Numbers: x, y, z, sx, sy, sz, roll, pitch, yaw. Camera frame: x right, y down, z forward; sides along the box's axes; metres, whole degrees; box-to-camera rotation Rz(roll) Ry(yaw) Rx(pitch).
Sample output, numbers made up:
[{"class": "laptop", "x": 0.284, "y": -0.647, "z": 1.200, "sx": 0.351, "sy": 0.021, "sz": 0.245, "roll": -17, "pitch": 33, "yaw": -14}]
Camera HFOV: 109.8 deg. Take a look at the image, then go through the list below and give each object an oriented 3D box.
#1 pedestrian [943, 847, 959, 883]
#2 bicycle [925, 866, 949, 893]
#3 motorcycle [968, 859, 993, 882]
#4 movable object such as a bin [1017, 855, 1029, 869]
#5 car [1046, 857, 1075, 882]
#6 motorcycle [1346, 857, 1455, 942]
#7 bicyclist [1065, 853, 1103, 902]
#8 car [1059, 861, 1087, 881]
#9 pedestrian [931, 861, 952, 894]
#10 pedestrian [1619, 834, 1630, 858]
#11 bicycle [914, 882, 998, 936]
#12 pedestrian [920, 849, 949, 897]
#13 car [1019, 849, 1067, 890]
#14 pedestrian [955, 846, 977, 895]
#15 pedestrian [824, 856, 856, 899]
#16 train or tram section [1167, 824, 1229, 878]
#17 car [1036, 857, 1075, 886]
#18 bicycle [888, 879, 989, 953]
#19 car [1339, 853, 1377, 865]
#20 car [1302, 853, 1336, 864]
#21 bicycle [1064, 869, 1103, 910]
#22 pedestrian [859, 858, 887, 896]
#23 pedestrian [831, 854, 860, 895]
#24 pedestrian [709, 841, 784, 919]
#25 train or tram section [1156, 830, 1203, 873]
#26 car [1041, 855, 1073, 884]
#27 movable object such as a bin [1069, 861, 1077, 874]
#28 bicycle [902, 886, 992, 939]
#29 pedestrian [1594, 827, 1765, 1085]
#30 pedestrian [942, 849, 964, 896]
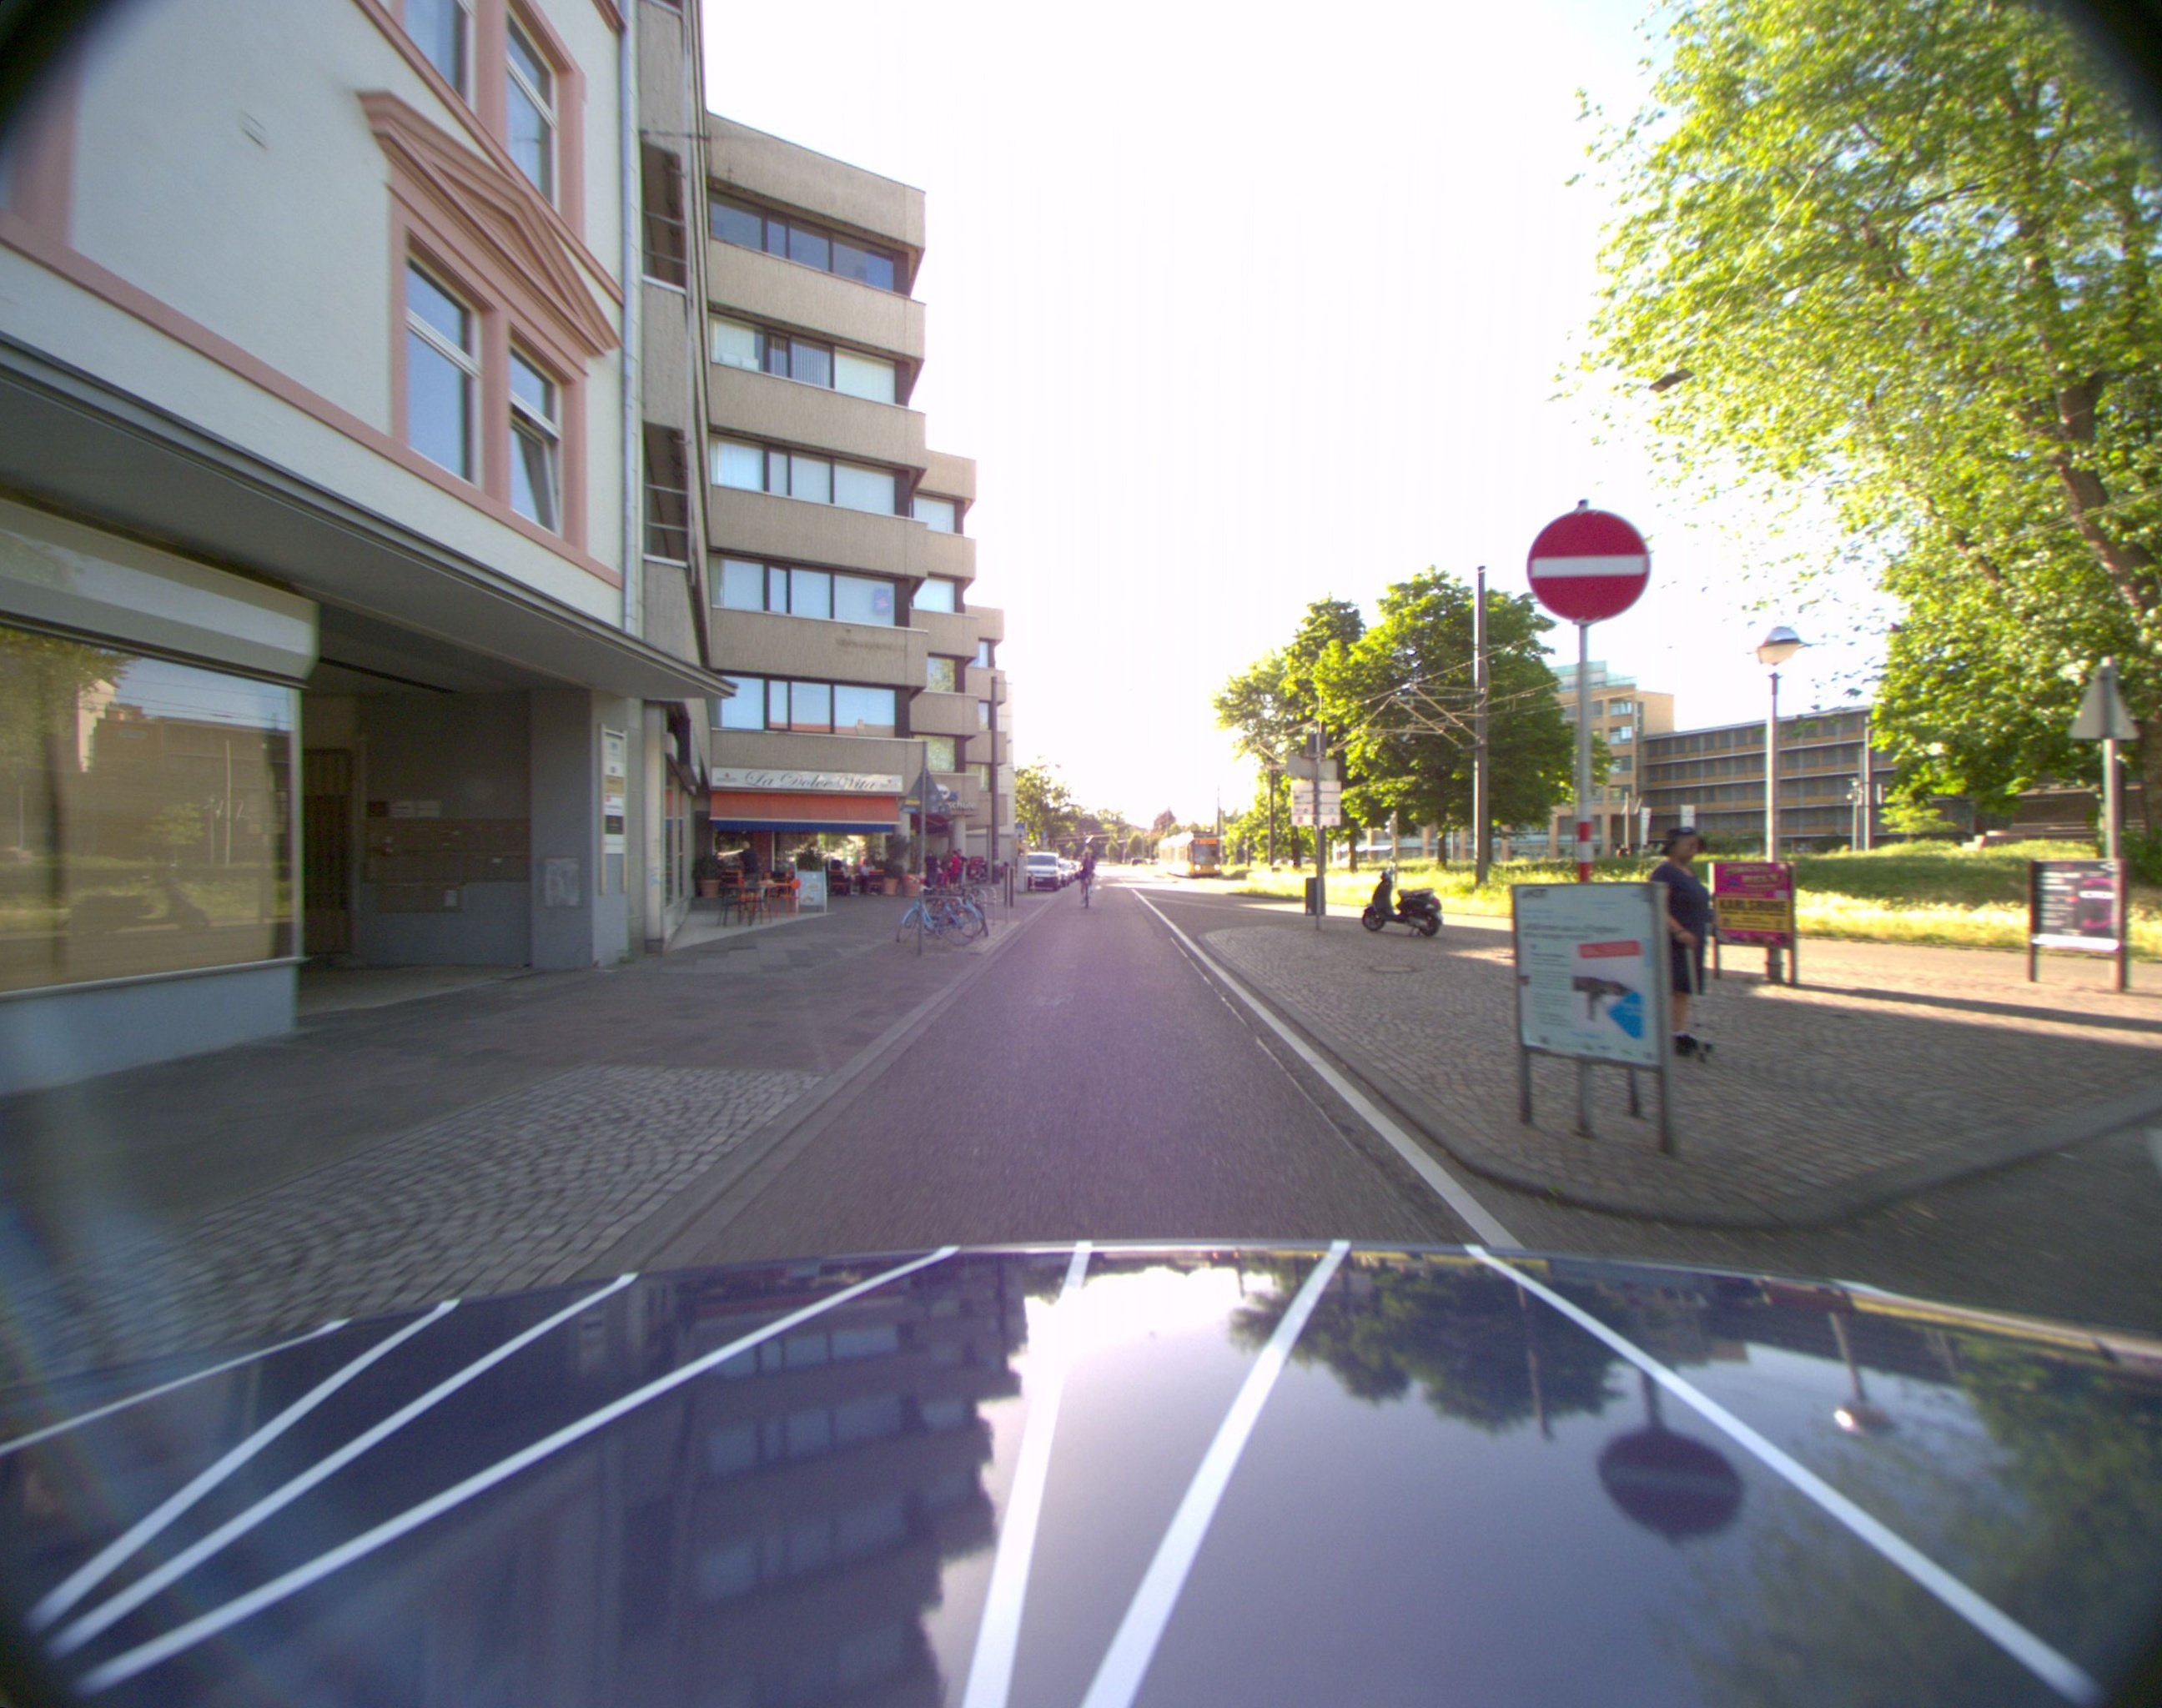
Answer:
[{"class": "pedestrian", "x": -6.777, "y": 0.566, "z": 39.502, "sx": 0.706, "sy": 1.805, "sz": 0.715, "roll": -2, "pitch": 2, "yaw": -15}, {"class": "bicycle", "x": -5.914, "y": 1.037, "z": 31.298, "sx": 0.564, "sy": 1.028, "sz": 1.644, "roll": -2, "pitch": 1, "yaw": 2}, {"class": "motorcycle", "x": -5.603, "y": 0.916, "z": 42.534, "sx": 0.765, "sy": 1.148, "sz": 2.049, "roll": 2, "pitch": 2, "yaw": 11}, {"class": "movable object such as a bin", "x": -7.255, "y": 0.977, "z": 95.566, "sx": 1.261, "sy": 1.699, "sz": 0.943, "roll": 0, "pitch": 1, "yaw": -23}, {"class": "car", "x": -1.411, "y": 1.078, "z": 54.491, "sx": 1.675, "sy": 1.510, "sz": 4.199, "roll": -2, "pitch": 1, "yaw": 4}, {"class": "motorcycle", "x": 5.665, "y": 0.763, "z": 13.589, "sx": 0.749, "sy": 1.366, "sz": 1.757, "roll": -3, "pitch": 1, "yaw": -22}, {"class": "bicyclist", "x": 0.101, "y": 0.718, "z": 24.055, "sx": 1.040, "sy": 1.475, "sz": 0.989, "roll": -2, "pitch": 1, "yaw": 8}, {"class": "car", "x": -0.585, "y": 1.300, "z": 59.250, "sx": 1.855, "sy": 1.336, "sz": 4.600, "roll": -2, "pitch": 1, "yaw": 4}, {"class": "pedestrian", "x": -5.361, "y": 0.910, "z": 29.214, "sx": 0.631, "sy": 1.229, "sz": 0.624, "roll": 1, "pitch": 2, "yaw": 5}, {"class": "pedestrian", "x": 36.930, "y": -0.569, "z": 51.582, "sx": 0.553, "sy": 1.606, "sz": 0.676, "roll": -1, "pitch": 2, "yaw": 39}, {"class": "bicycle", "x": -2.542, "y": 1.117, "z": 15.441, "sx": 1.681, "sy": 1.056, "sz": 0.344, "roll": -2, "pitch": 2, "yaw": 17}, {"class": "pedestrian", "x": -5.273, "y": 0.674, "z": 27.366, "sx": 0.845, "sy": 1.700, "sz": 0.718, "roll": 1, "pitch": 0, "yaw": -27}, {"class": "car", "x": -1.788, "y": 0.698, "z": 37.174, "sx": 1.998, "sy": 1.802, "sz": 4.309, "roll": -2, "pitch": 1, "yaw": 1}, {"class": "pedestrian", "x": -4.415, "y": 0.638, "z": 29.287, "sx": 0.672, "sy": 1.845, "sz": 0.610, "roll": 2, "pitch": 2, "yaw": 5}, {"class": "pedestrian", "x": -8.070, "y": 0.770, "z": 25.443, "sx": 0.845, "sy": 1.394, "sz": 0.751, "roll": -2, "pitch": 0, "yaw": -28}, {"class": "train or tram section", "x": 8.906, "y": -0.207, "z": 59.432, "sx": 2.956, "sy": 3.663, "sz": 13.185, "roll": -1, "pitch": 0, "yaw": 1}, {"class": "car", "x": -1.426, "y": 0.955, "z": 44.039, "sx": 1.778, "sy": 1.445, "sz": 4.731, "roll": -2, "pitch": 1, "yaw": 4}, {"class": "bicycle", "x": -2.538, "y": 1.086, "z": 13.576, "sx": 1.623, "sy": 1.236, "sz": 0.660, "roll": -1, "pitch": 2, "yaw": 21}, {"class": "car", "x": 37.346, "y": 0.617, "z": 102.581, "sx": 2.002, "sy": 1.439, "sz": 5.010, "roll": -2, "pitch": 1, "yaw": -20}, {"class": "car", "x": 34.201, "y": 0.599, "z": 109.391, "sx": 2.002, "sy": 1.508, "sz": 4.652, "roll": -2, "pitch": 1, "yaw": -24}, {"class": "bicycle", "x": 0.099, "y": 1.108, "z": 24.044, "sx": 0.887, "sy": 1.129, "sz": 2.230, "roll": -2, "pitch": 1, "yaw": 9}, {"class": "pedestrian", "x": -7.276, "y": 0.786, "z": 26.628, "sx": 0.844, "sy": 1.285, "sz": 0.830, "roll": 1, "pitch": 1, "yaw": -11}, {"class": "pedestrian", "x": -8.188, "y": 0.709, "z": 26.422, "sx": 0.845, "sy": 1.394, "sz": 0.829, "roll": -1, "pitch": 0, "yaw": -24}, {"class": "pedestrian", "x": -7.760, "y": 0.584, "z": 17.680, "sx": 1.020, "sy": 1.733, "sz": 1.137, "roll": -2, "pitch": 2, "yaw": 15}, {"class": "train or tram section", "x": 9.193, "y": -0.202, "z": 72.647, "sx": 2.956, "sy": 3.591, "sz": 13.635, "roll": -1, "pitch": 0, "yaw": 1}, {"class": "car", "x": -1.543, "y": 1.005, "z": 50.564, "sx": 1.856, "sy": 1.679, "sz": 3.866, "roll": -2, "pitch": 1, "yaw": 1}, {"class": "movable object such as a bin", "x": -0.730, "y": 1.205, "z": 68.281, "sx": 0.607, "sy": 1.063, "sz": 0.613, "roll": -2, "pitch": 1, "yaw": -2}, {"class": "bicycle", "x": -2.667, "y": 1.157, "z": 15.079, "sx": 1.705, "sy": 0.998, "sz": 0.428, "roll": -2, "pitch": 2, "yaw": 17}, {"class": "pedestrian", "x": 4.102, "y": 0.659, "z": 5.252, "sx": 0.637, "sy": 1.662, "sz": 0.692, "roll": -2, "pitch": 2, "yaw": 2}, {"class": "pedestrian", "x": -4.795, "y": 0.678, "z": 28.484, "sx": 0.585, "sy": 1.705, "sz": 0.698, "roll": -2, "pitch": 2, "yaw": 4}]
